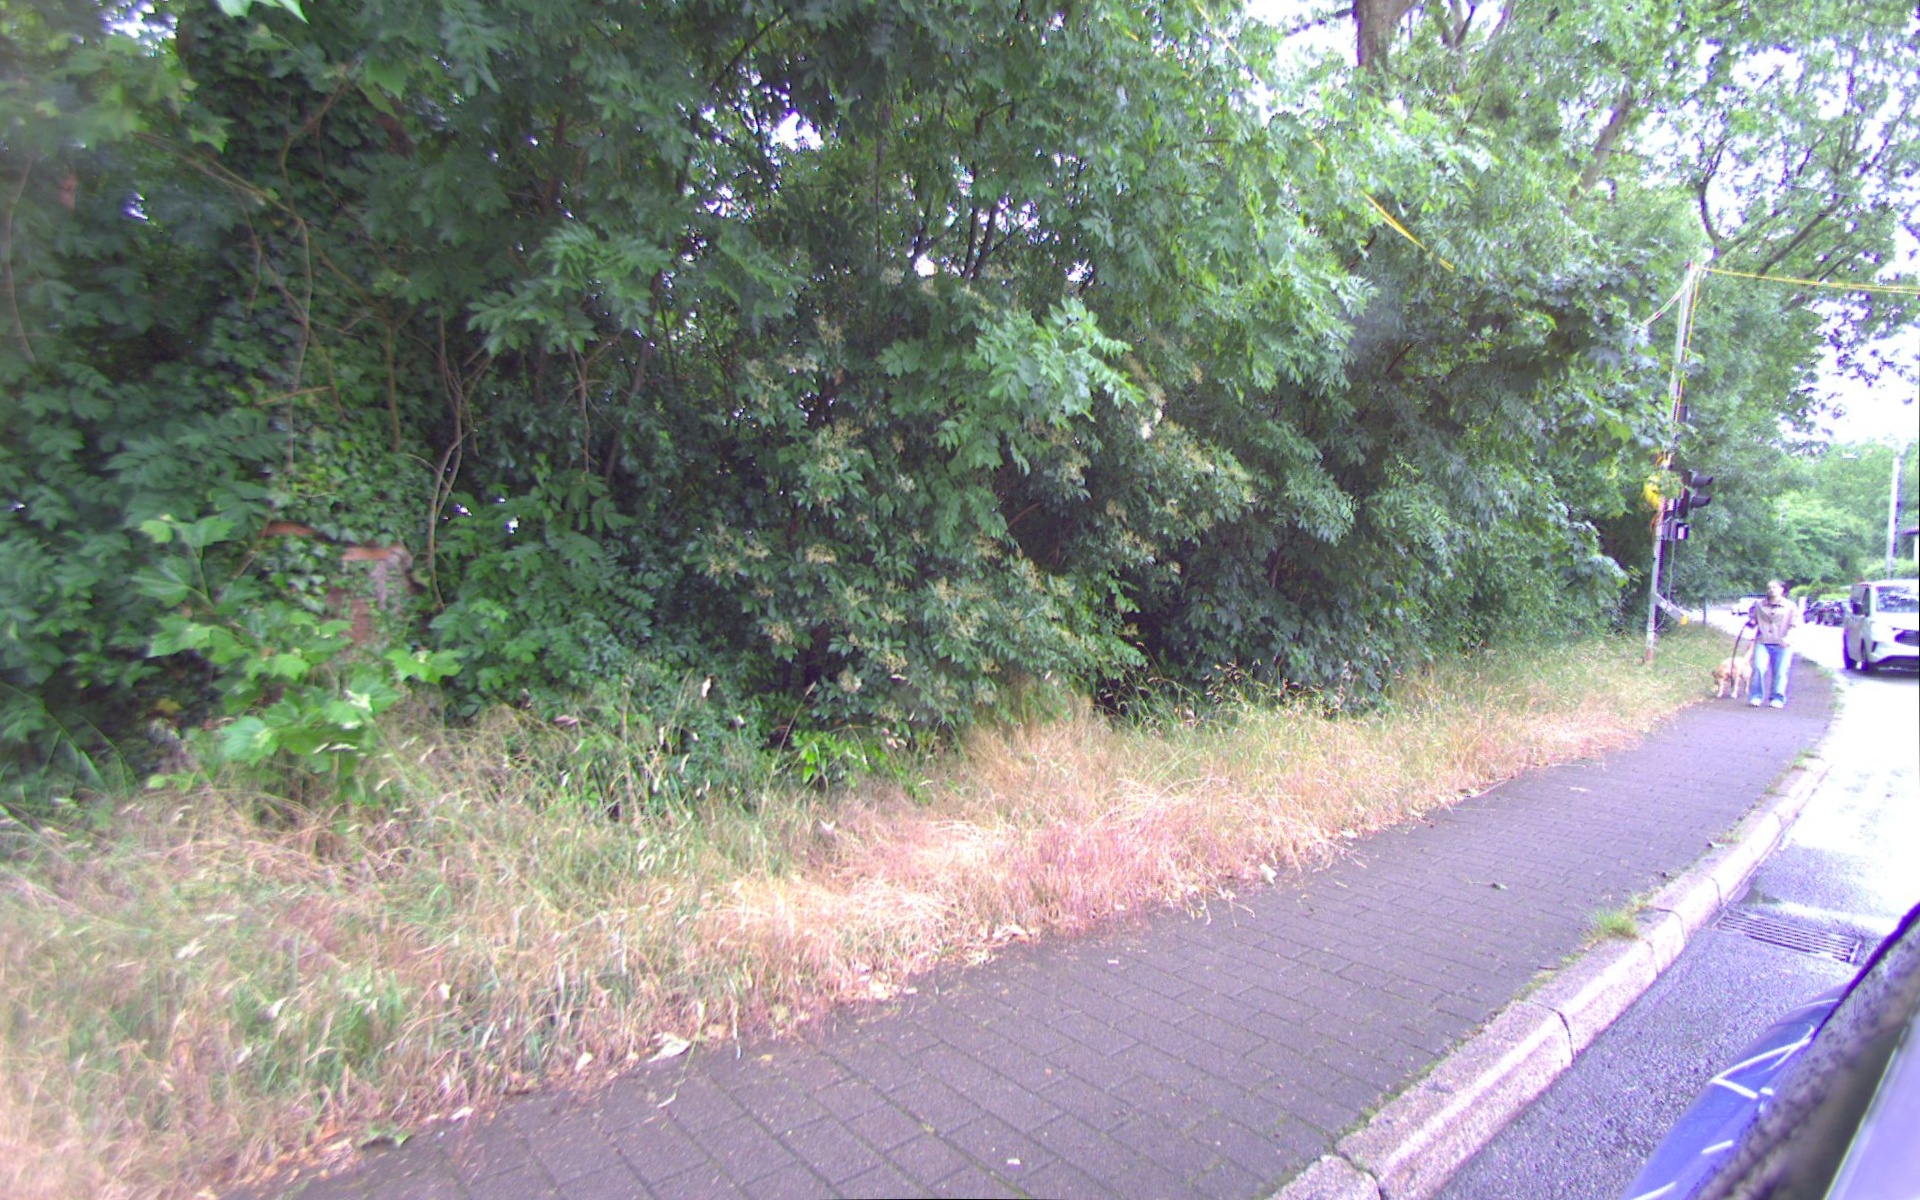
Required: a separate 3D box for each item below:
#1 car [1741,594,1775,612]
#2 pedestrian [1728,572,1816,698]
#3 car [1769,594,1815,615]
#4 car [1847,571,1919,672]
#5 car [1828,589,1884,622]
[{"bbox_3d":[64.933,0.225,82.372,1.676,1.445,3.734,1,1,31],"label":"car"},{"bbox_3d":[10.167,0.411,12.673,0.771,1.518,0.734,0,0,-42],"label":"pedestrian"},{"bbox_3d":[60.738,0.303,73.920,2.055,1.504,4.508,1,1,33],"label":"car"},{"bbox_3d":[20.316,0.402,21.277,2.091,1.943,5.023,1,0,37],"label":"car"},{"bbox_3d":[51.051,0.288,57.708,1.869,1.848,4.075,1,1,35],"label":"car"}]
